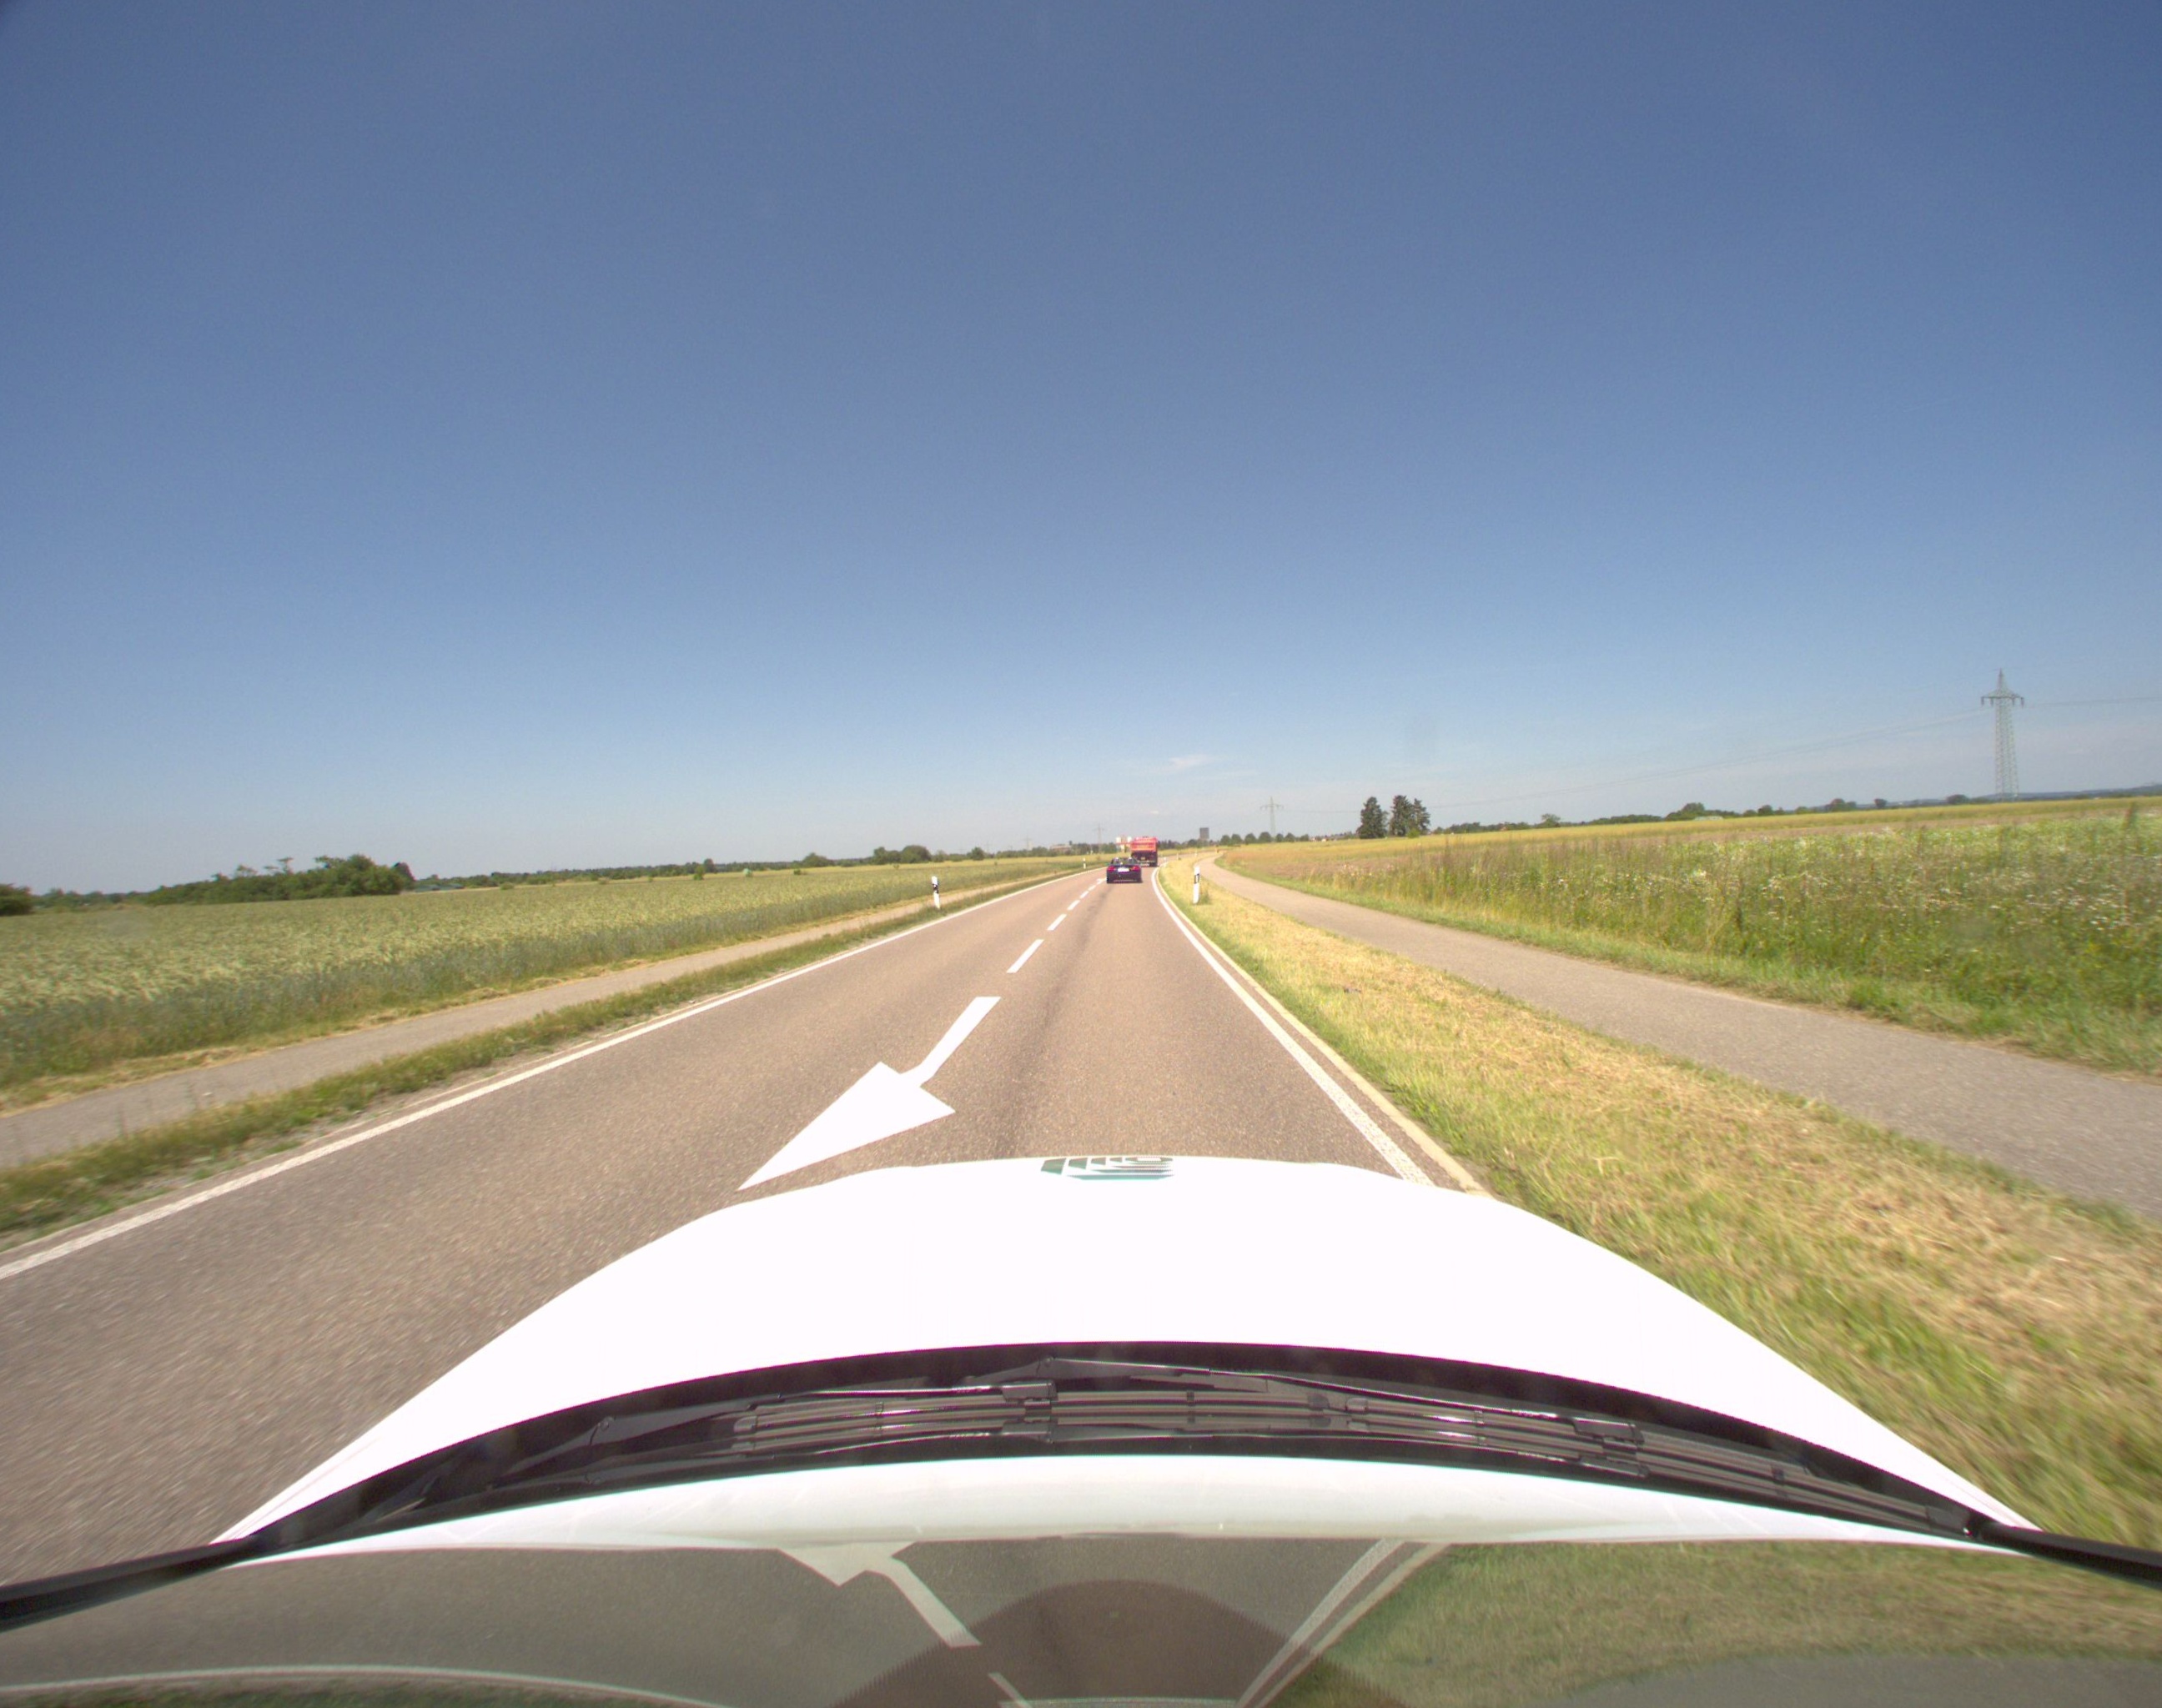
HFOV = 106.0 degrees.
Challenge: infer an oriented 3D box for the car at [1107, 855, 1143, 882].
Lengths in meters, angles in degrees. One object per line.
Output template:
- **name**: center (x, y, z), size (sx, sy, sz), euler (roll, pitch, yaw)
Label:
- **car**: center (2.289, 0.733, 41.768), size (1.736, 1.280, 4.004), euler (-1, 0, 4)

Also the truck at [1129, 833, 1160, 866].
- **truck**: center (6.463, -0.440, 82.527), size (2.924, 3.089, 7.205), euler (-2, -1, 5)
